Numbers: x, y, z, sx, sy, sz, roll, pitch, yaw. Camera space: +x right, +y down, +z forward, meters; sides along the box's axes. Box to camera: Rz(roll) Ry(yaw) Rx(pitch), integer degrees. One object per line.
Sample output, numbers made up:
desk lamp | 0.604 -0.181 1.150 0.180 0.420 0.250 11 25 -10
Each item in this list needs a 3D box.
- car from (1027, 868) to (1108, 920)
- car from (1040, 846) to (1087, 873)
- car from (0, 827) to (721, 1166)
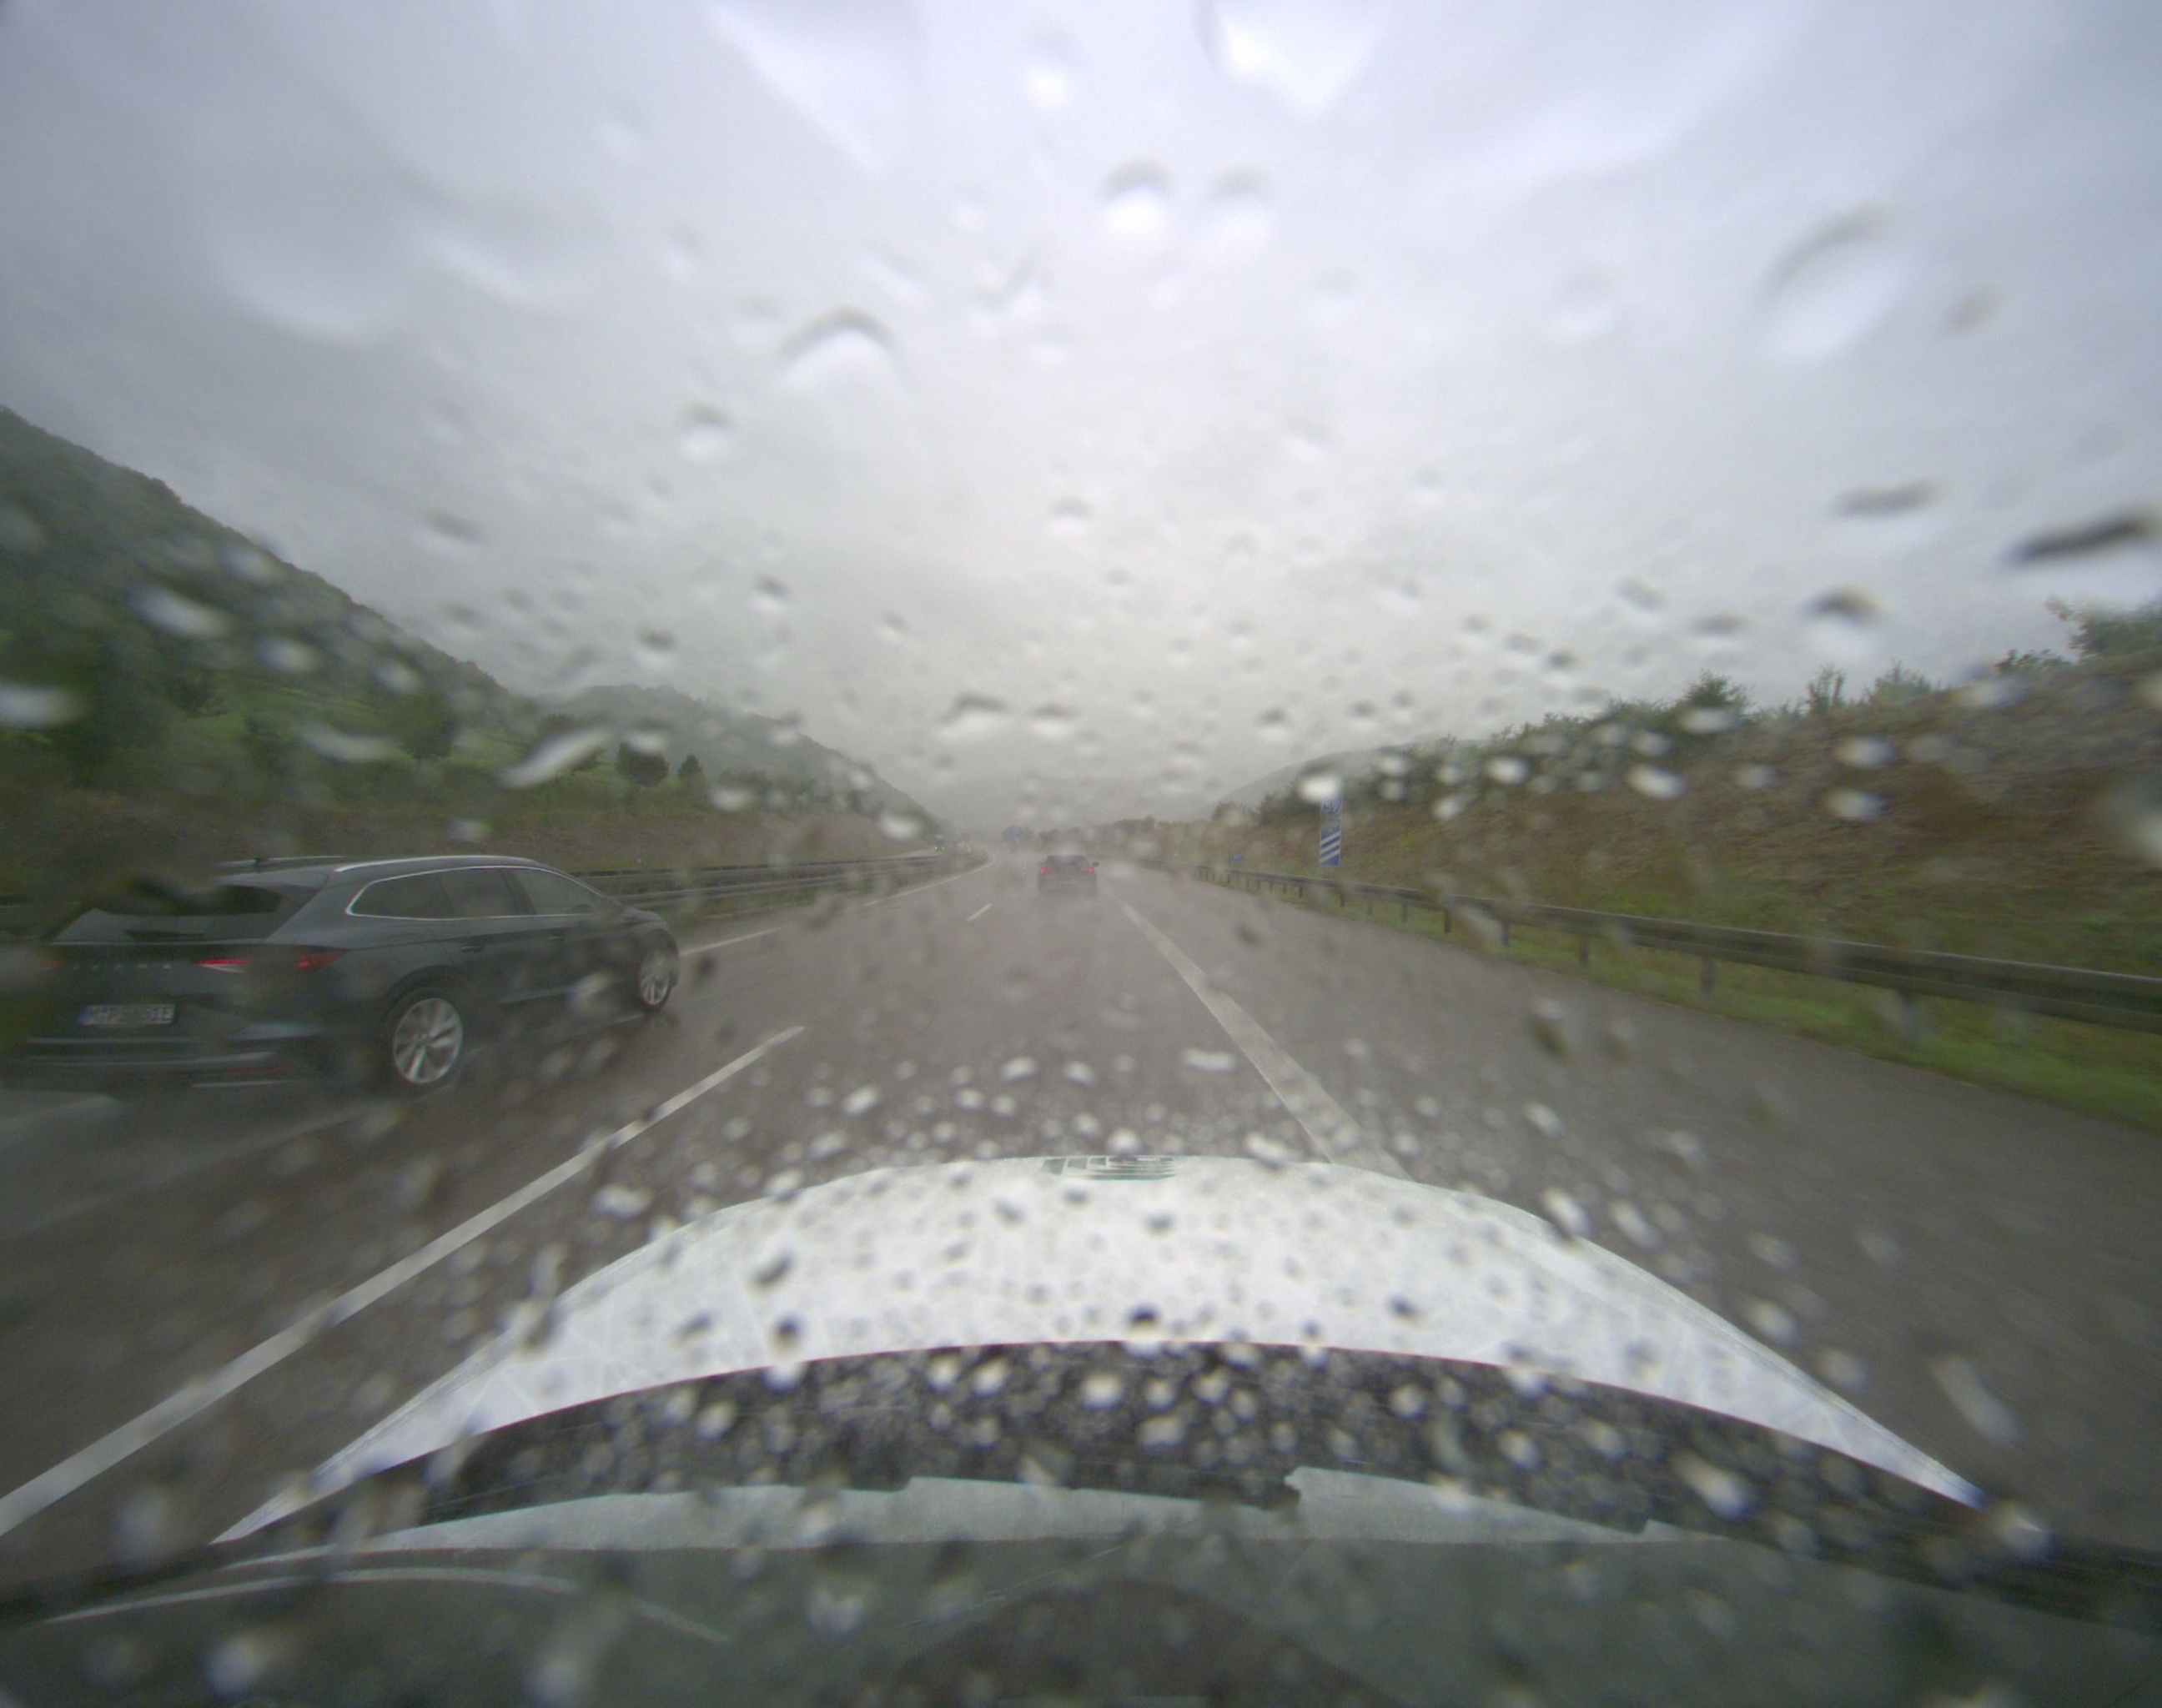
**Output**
car | -0.398 1.230 26.630 2.398 1.515 4.782 1 -1 0
car | -1.155 0.367 50.588 2.660 1.515 5.710 1 -1 -4
car | -5.060 0.734 6.603 1.986 1.683 4.910 -2 0 1
